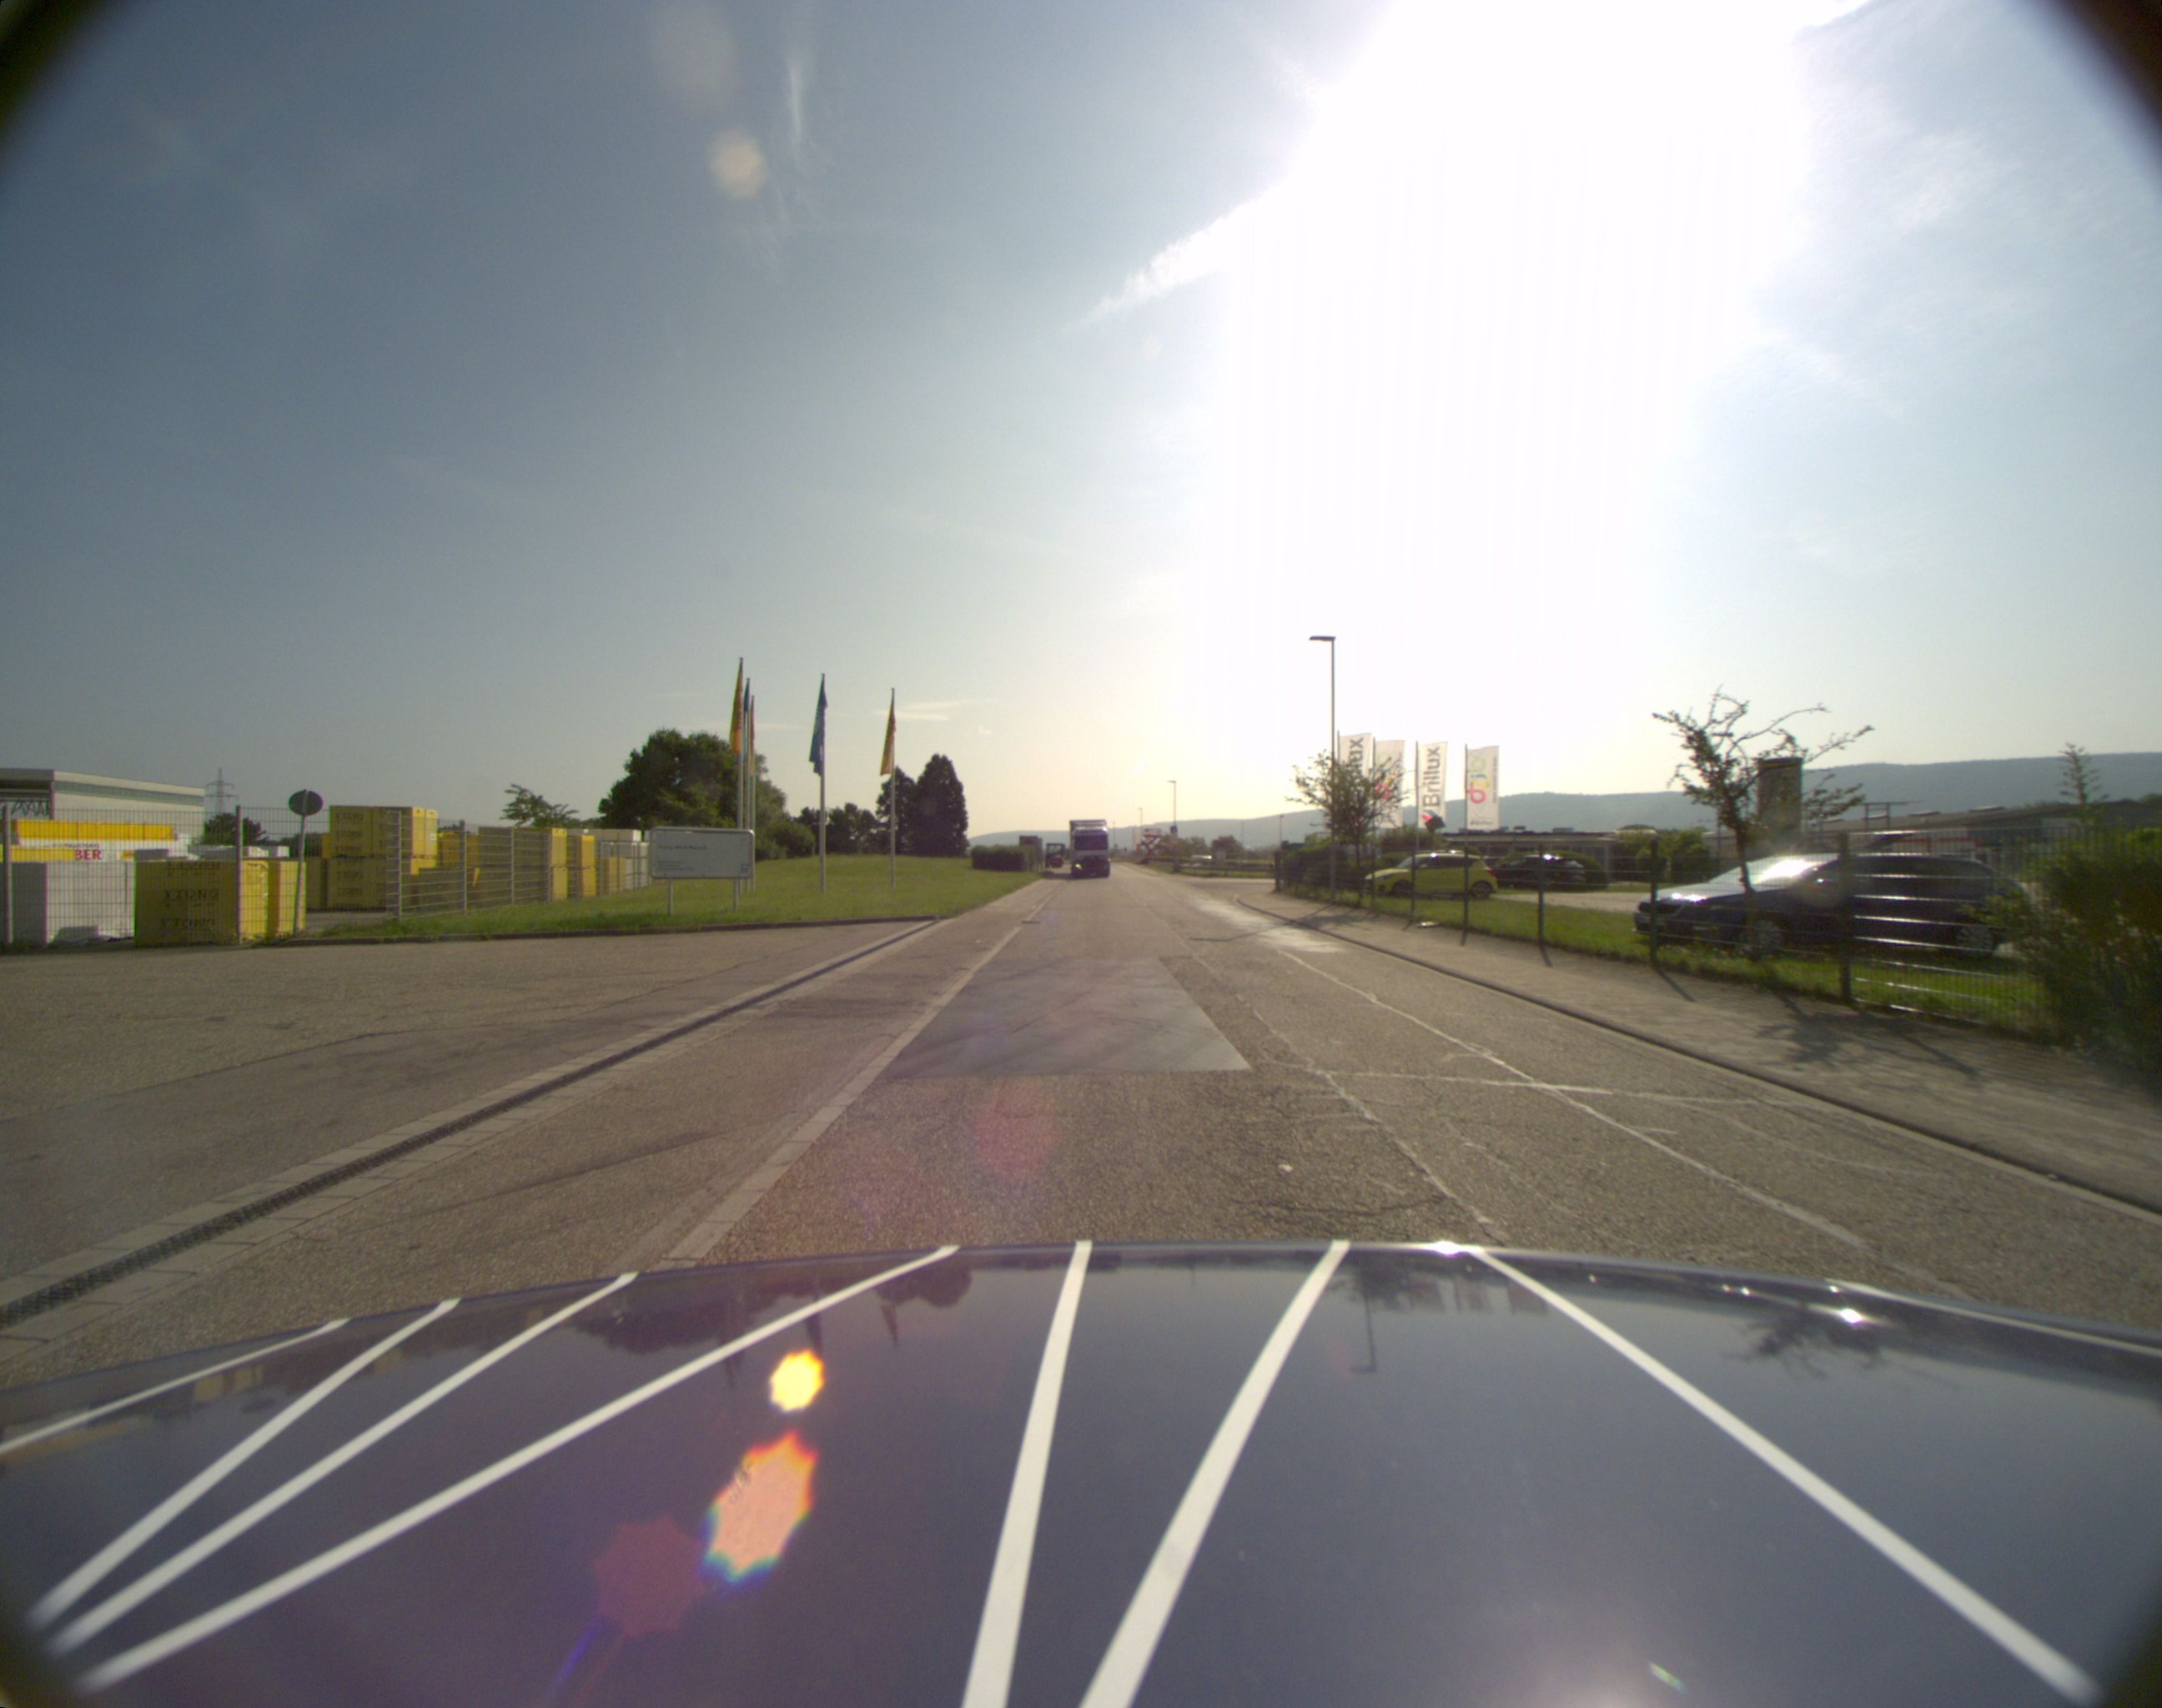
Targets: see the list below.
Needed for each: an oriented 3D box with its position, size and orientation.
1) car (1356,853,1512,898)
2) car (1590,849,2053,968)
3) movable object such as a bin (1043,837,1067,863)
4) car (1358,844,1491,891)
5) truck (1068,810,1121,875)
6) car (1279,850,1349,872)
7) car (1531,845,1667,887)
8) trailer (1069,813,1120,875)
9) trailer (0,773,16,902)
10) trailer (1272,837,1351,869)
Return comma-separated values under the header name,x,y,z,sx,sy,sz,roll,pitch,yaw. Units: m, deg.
name,x,y,z,sx,sy,sz,roll,pitch,yaw
car,11.312,0.669,24.556,4.174,1.360,1.868,0,1,2
car,10.499,0.719,11.104,4.697,1.435,2.078,2,0,0
movable object such as a bin,-3.257,-0.499,93.330,2.435,2.994,5.750,1,0,-6
car,13.766,0.503,30.716,1.961,1.686,4.499,-3,1,-35
truck,0.938,-0.830,53.646,3.395,4.183,6.098,-2,1,1
car,19.145,0.559,62.694,5.272,1.696,2.001,1,1,8
car,23.025,0.495,34.015,4.654,1.742,2.155,0,1,22
trailer,1.161,-0.832,60.401,3.497,4.183,14.232,-2,1,2
trailer,-32.158,-0.431,18.924,2.487,3.854,7.786,-3,1,-21
trailer,19.979,-0.096,66.116,6.315,2.590,2.857,1,1,15
